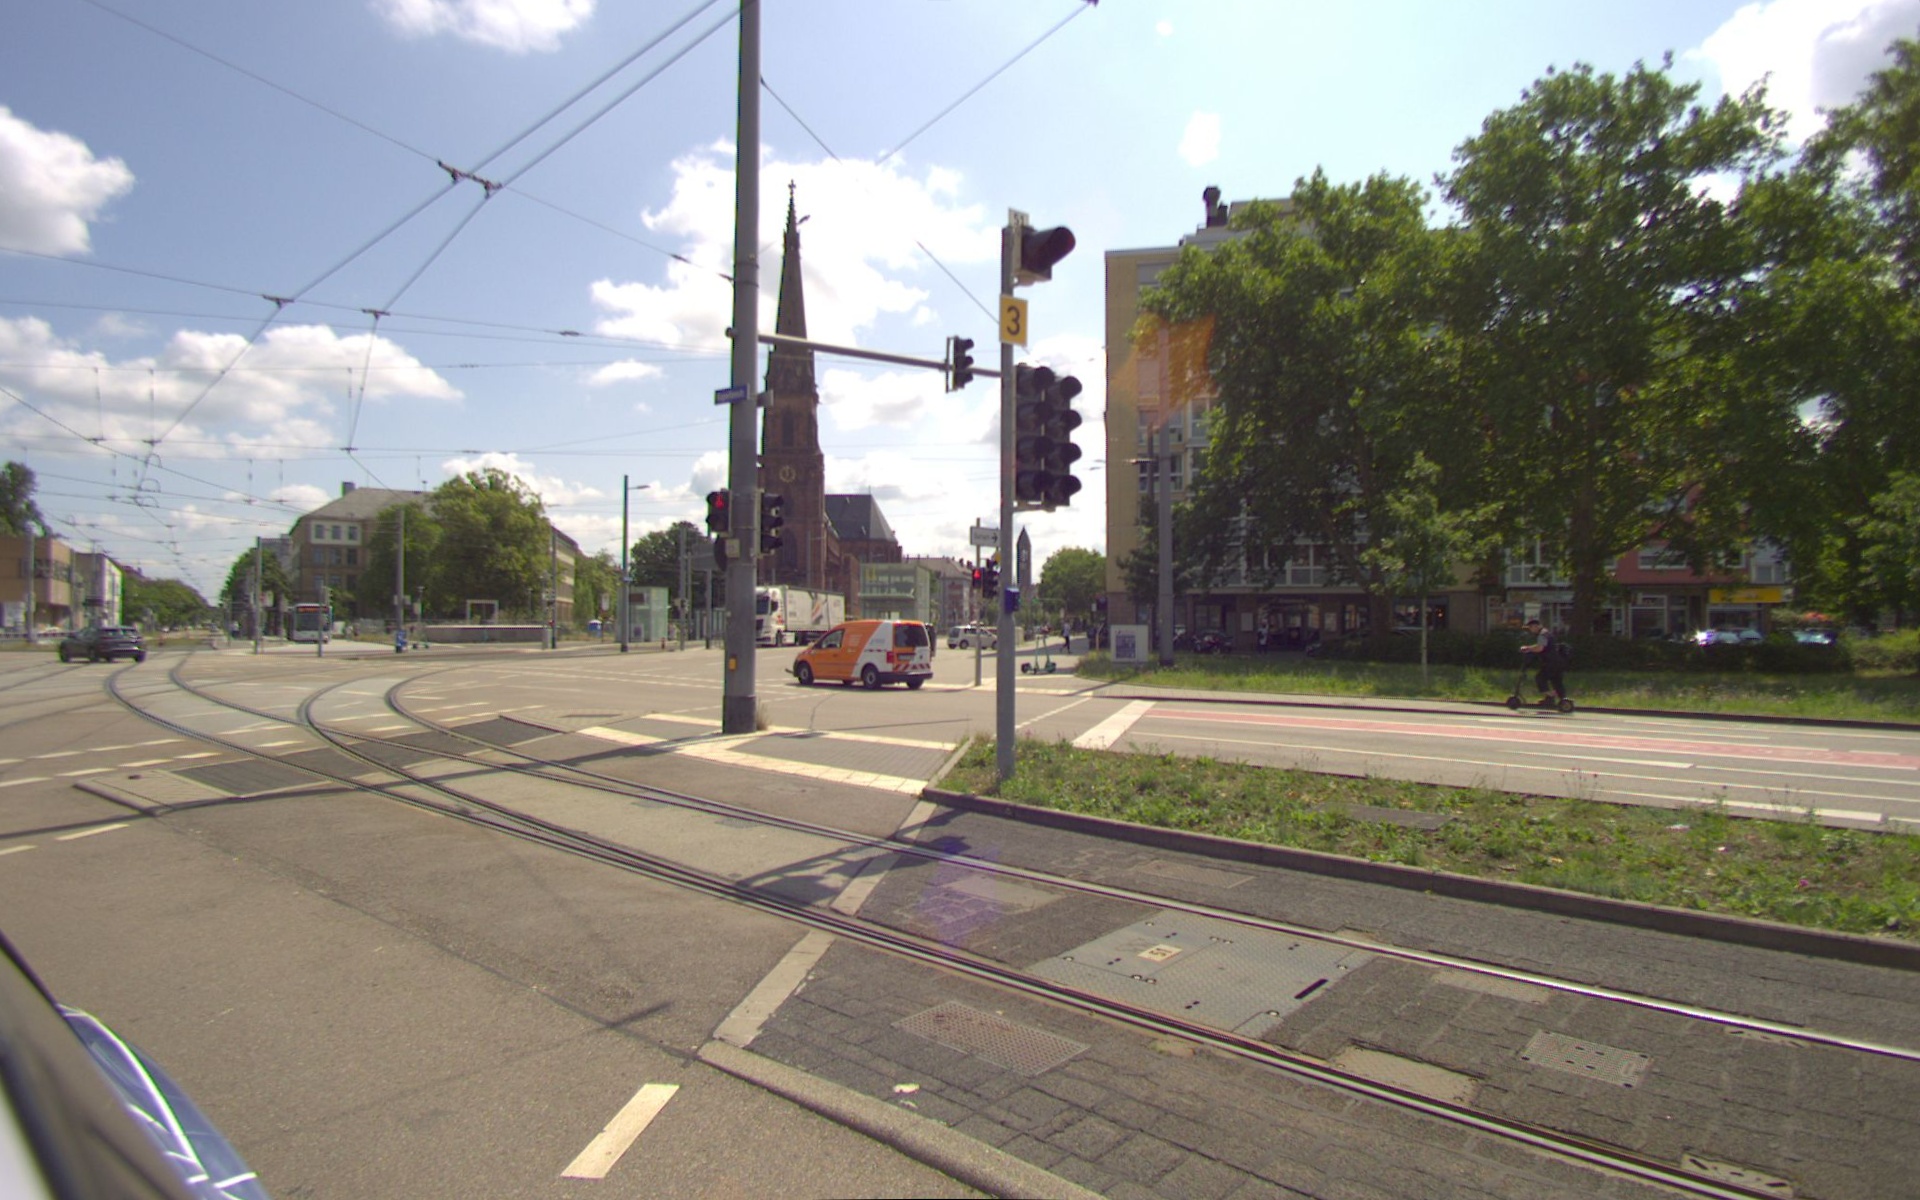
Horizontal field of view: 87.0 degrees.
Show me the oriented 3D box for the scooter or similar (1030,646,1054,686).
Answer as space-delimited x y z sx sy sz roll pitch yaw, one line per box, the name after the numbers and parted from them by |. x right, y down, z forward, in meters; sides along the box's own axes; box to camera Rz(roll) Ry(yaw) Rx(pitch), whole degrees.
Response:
2.475 1.990 30.598 0.549 1.209 0.456 -3 -3 41 | scooter or similar

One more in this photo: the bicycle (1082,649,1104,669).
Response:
7.763 3.437 58.968 1.258 1.154 0.458 -1 -3 8 | bicycle

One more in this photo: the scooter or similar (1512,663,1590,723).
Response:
10.935 1.695 18.716 1.092 1.040 0.795 -2 -3 42 | scooter or similar

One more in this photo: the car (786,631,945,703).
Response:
-2.569 1.714 26.944 4.238 1.779 1.747 -2 -3 40 | car

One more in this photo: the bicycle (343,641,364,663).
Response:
-57.366 4.951 95.755 1.228 2.029 3.491 2 -3 -39 | bicycle

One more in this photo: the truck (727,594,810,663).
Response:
-12.173 1.860 65.049 2.932 4.150 6.854 -1 -2 11 | truck

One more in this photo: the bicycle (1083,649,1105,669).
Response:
7.894 3.481 59.837 1.258 1.154 0.458 -1 -3 8 | bicycle

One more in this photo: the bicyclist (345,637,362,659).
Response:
-57.452 4.529 95.861 1.108 2.029 1.322 3 -4 -39 | bicyclist

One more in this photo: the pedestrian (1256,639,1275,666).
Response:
15.139 2.592 50.192 0.751 1.336 0.561 -1 -2 7 | pedestrian

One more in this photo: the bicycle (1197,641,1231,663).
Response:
12.510 2.555 49.925 1.585 1.074 0.491 -1 -2 12 | bicycle

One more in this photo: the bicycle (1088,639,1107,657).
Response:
8.514 2.995 62.676 1.147 1.083 0.307 -1 -3 8 | bicycle

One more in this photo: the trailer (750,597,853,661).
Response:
-10.902 2.070 71.777 2.917 4.107 13.372 -1 -2 11 | trailer

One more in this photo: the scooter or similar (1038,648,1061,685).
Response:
2.758 2.034 31.153 0.556 1.133 0.411 -3 -3 41 | scooter or similar

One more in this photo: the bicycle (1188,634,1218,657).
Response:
13.535 2.554 56.447 1.585 1.274 0.491 -1 -2 12 | bicycle

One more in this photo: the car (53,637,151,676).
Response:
-36.101 2.397 42.576 4.090 1.572 1.797 -2 -4 29 | car

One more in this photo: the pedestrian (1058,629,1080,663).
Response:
5.124 2.175 47.548 0.873 1.572 0.719 -2 -3 19 | pedestrian

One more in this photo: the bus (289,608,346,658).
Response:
-47.406 2.481 74.557 2.904 3.474 7.964 1 -3 -37 | bus

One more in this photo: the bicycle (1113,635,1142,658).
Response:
9.480 2.620 57.178 1.585 1.274 0.491 -1 -2 12 | bicycle

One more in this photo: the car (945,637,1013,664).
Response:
1.254 3.239 65.120 4.101 1.655 1.634 1 -3 -30 | car

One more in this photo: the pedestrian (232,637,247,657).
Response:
-64.472 4.196 90.554 0.897 1.837 1.023 3 -4 -39 | pedestrian

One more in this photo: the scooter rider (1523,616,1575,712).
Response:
10.871 1.165 18.680 0.649 1.720 0.769 -2 -3 42 | scooter rider

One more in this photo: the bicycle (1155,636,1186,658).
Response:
11.098 2.486 53.416 1.585 1.176 0.491 -1 -2 12 | bicycle
